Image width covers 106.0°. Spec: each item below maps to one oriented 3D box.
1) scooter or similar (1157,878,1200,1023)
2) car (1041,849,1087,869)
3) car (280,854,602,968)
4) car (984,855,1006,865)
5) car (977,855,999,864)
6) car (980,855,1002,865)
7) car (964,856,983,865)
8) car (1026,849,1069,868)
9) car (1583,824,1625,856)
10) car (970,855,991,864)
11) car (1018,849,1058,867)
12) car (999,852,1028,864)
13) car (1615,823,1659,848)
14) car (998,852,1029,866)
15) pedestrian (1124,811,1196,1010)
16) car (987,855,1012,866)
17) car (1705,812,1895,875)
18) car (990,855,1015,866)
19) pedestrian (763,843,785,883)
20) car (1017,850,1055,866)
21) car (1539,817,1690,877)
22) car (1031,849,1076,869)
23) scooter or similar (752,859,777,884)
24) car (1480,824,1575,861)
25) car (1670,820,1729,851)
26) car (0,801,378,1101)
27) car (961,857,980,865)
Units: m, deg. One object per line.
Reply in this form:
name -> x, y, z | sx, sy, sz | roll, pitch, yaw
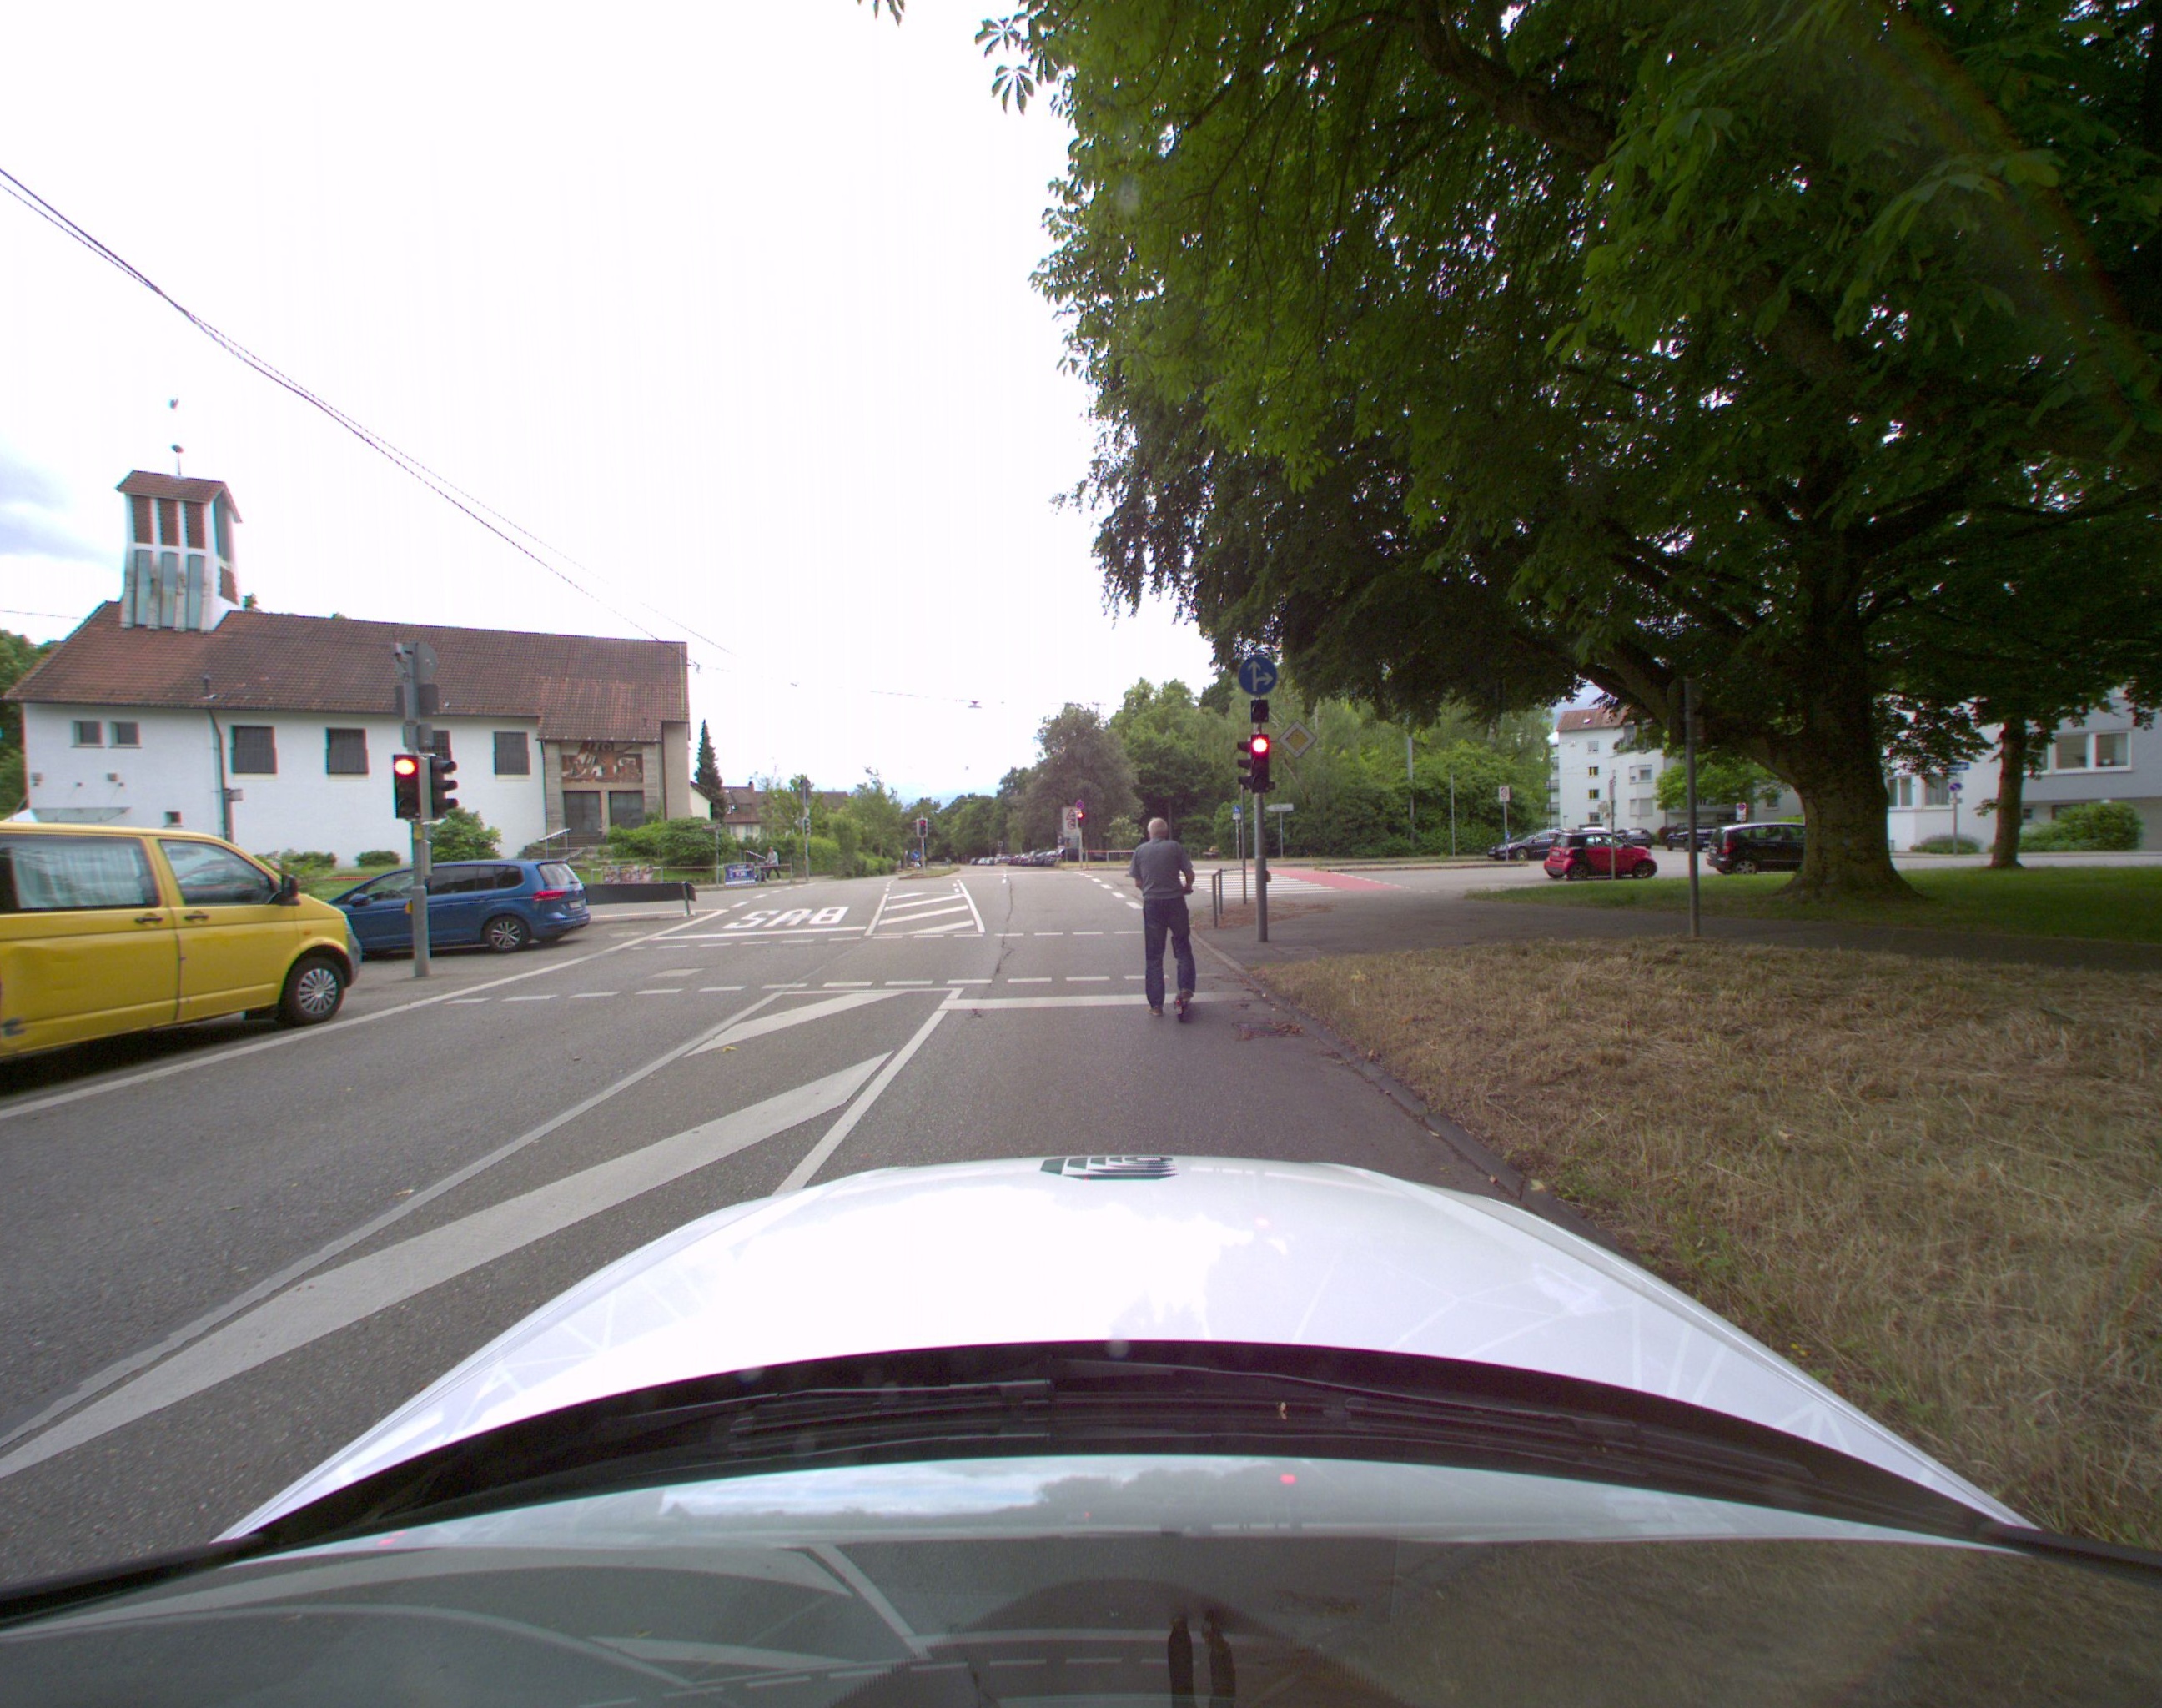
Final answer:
scooter or similar -> 0.916, 0.841, 7.494 | 0.280, 1.178, 1.180 | -2, 0, 10
car -> -1.586, 0.430, 75.011 | 3.854, 1.610, 1.717 | -3, 0, -19
car -> -11.067, 0.915, 14.425 | 3.992, 1.610, 1.810 | -3, 0, -14
car -> -16.354, 1.160, 154.700 | 3.856, 1.610, 1.716 | -3, 0, -21
car -> -18.158, 1.128, 159.451 | 3.856, 1.610, 1.716 | -3, 0, -21
car -> -17.332, 1.123, 156.859 | 3.856, 1.610, 1.716 | -3, 0, -21
car -> -23.327, 1.434, 176.445 | 3.856, 1.610, 1.716 | -3, 0, -21
car -> -3.283, 0.467, 79.567 | 3.856, 1.610, 1.716 | -3, 0, -21
car -> 28.782, -0.790, 44.895 | 1.706, 1.610, 3.878 | -3, 1, 30
car -> -20.508, 1.141, 166.579 | 3.856, 1.610, 1.716 | -3, 0, -21
car -> -4.605, 0.419, 86.953 | 3.856, 1.610, 1.716 | -3, 0, -21
car -> -10.132, 0.625, 122.354 | 3.856, 1.610, 1.716 | -3, 0, -21
car -> 38.951, -1.279, 57.139 | 1.707, 1.610, 3.875 | -3, 1, 22
car -> -9.058, 0.674, 109.350 | 3.856, 1.610, 1.716 | -3, 0, -21
pedestrian -> 0.752, 0.521, 7.675 | 0.569, 1.813, 0.421 | -2, 0, 10
car -> -14.337, 1.133, 143.339 | 3.856, 1.610, 1.716 | -3, 0, -21
car -> 20.828, -0.297, 23.802 | 3.805, 1.610, 1.739 | -3, 1, 27
car -> -13.398, 1.124, 139.639 | 3.856, 1.610, 1.716 | -3, 0, -21
pedestrian -> -14.684, 0.425, 38.999 | 0.570, 1.862, 0.888 | -2, 0, 5
car -> -4.938, 0.425, 89.375 | 3.856, 1.610, 1.716 | -3, 0, -21
car -> 16.522, -0.209, 25.359 | 3.499, 1.610, 1.732 | -3, 0, 7
car -> -2.596, 0.458, 77.007 | 3.857, 1.610, 1.715 | -3, 1, -22
scooter or similar -> -14.764, 0.813, 38.034 | 0.572, 1.081, 1.114 | -2, 0, 7
car -> 21.107, -0.562, 38.603 | 3.498, 1.530, 1.732 | -3, 0, 8
car -> 35.564, -1.071, 46.929 | 1.707, 1.610, 3.875 | -3, 1, 22
car -> -8.302, 0.683, 6.340 | 1.880, 2.013, 4.558 | -2, 0, -5
car -> -24.241, 1.525, 178.806 | 3.856, 1.610, 1.716 | -3, 0, -21
